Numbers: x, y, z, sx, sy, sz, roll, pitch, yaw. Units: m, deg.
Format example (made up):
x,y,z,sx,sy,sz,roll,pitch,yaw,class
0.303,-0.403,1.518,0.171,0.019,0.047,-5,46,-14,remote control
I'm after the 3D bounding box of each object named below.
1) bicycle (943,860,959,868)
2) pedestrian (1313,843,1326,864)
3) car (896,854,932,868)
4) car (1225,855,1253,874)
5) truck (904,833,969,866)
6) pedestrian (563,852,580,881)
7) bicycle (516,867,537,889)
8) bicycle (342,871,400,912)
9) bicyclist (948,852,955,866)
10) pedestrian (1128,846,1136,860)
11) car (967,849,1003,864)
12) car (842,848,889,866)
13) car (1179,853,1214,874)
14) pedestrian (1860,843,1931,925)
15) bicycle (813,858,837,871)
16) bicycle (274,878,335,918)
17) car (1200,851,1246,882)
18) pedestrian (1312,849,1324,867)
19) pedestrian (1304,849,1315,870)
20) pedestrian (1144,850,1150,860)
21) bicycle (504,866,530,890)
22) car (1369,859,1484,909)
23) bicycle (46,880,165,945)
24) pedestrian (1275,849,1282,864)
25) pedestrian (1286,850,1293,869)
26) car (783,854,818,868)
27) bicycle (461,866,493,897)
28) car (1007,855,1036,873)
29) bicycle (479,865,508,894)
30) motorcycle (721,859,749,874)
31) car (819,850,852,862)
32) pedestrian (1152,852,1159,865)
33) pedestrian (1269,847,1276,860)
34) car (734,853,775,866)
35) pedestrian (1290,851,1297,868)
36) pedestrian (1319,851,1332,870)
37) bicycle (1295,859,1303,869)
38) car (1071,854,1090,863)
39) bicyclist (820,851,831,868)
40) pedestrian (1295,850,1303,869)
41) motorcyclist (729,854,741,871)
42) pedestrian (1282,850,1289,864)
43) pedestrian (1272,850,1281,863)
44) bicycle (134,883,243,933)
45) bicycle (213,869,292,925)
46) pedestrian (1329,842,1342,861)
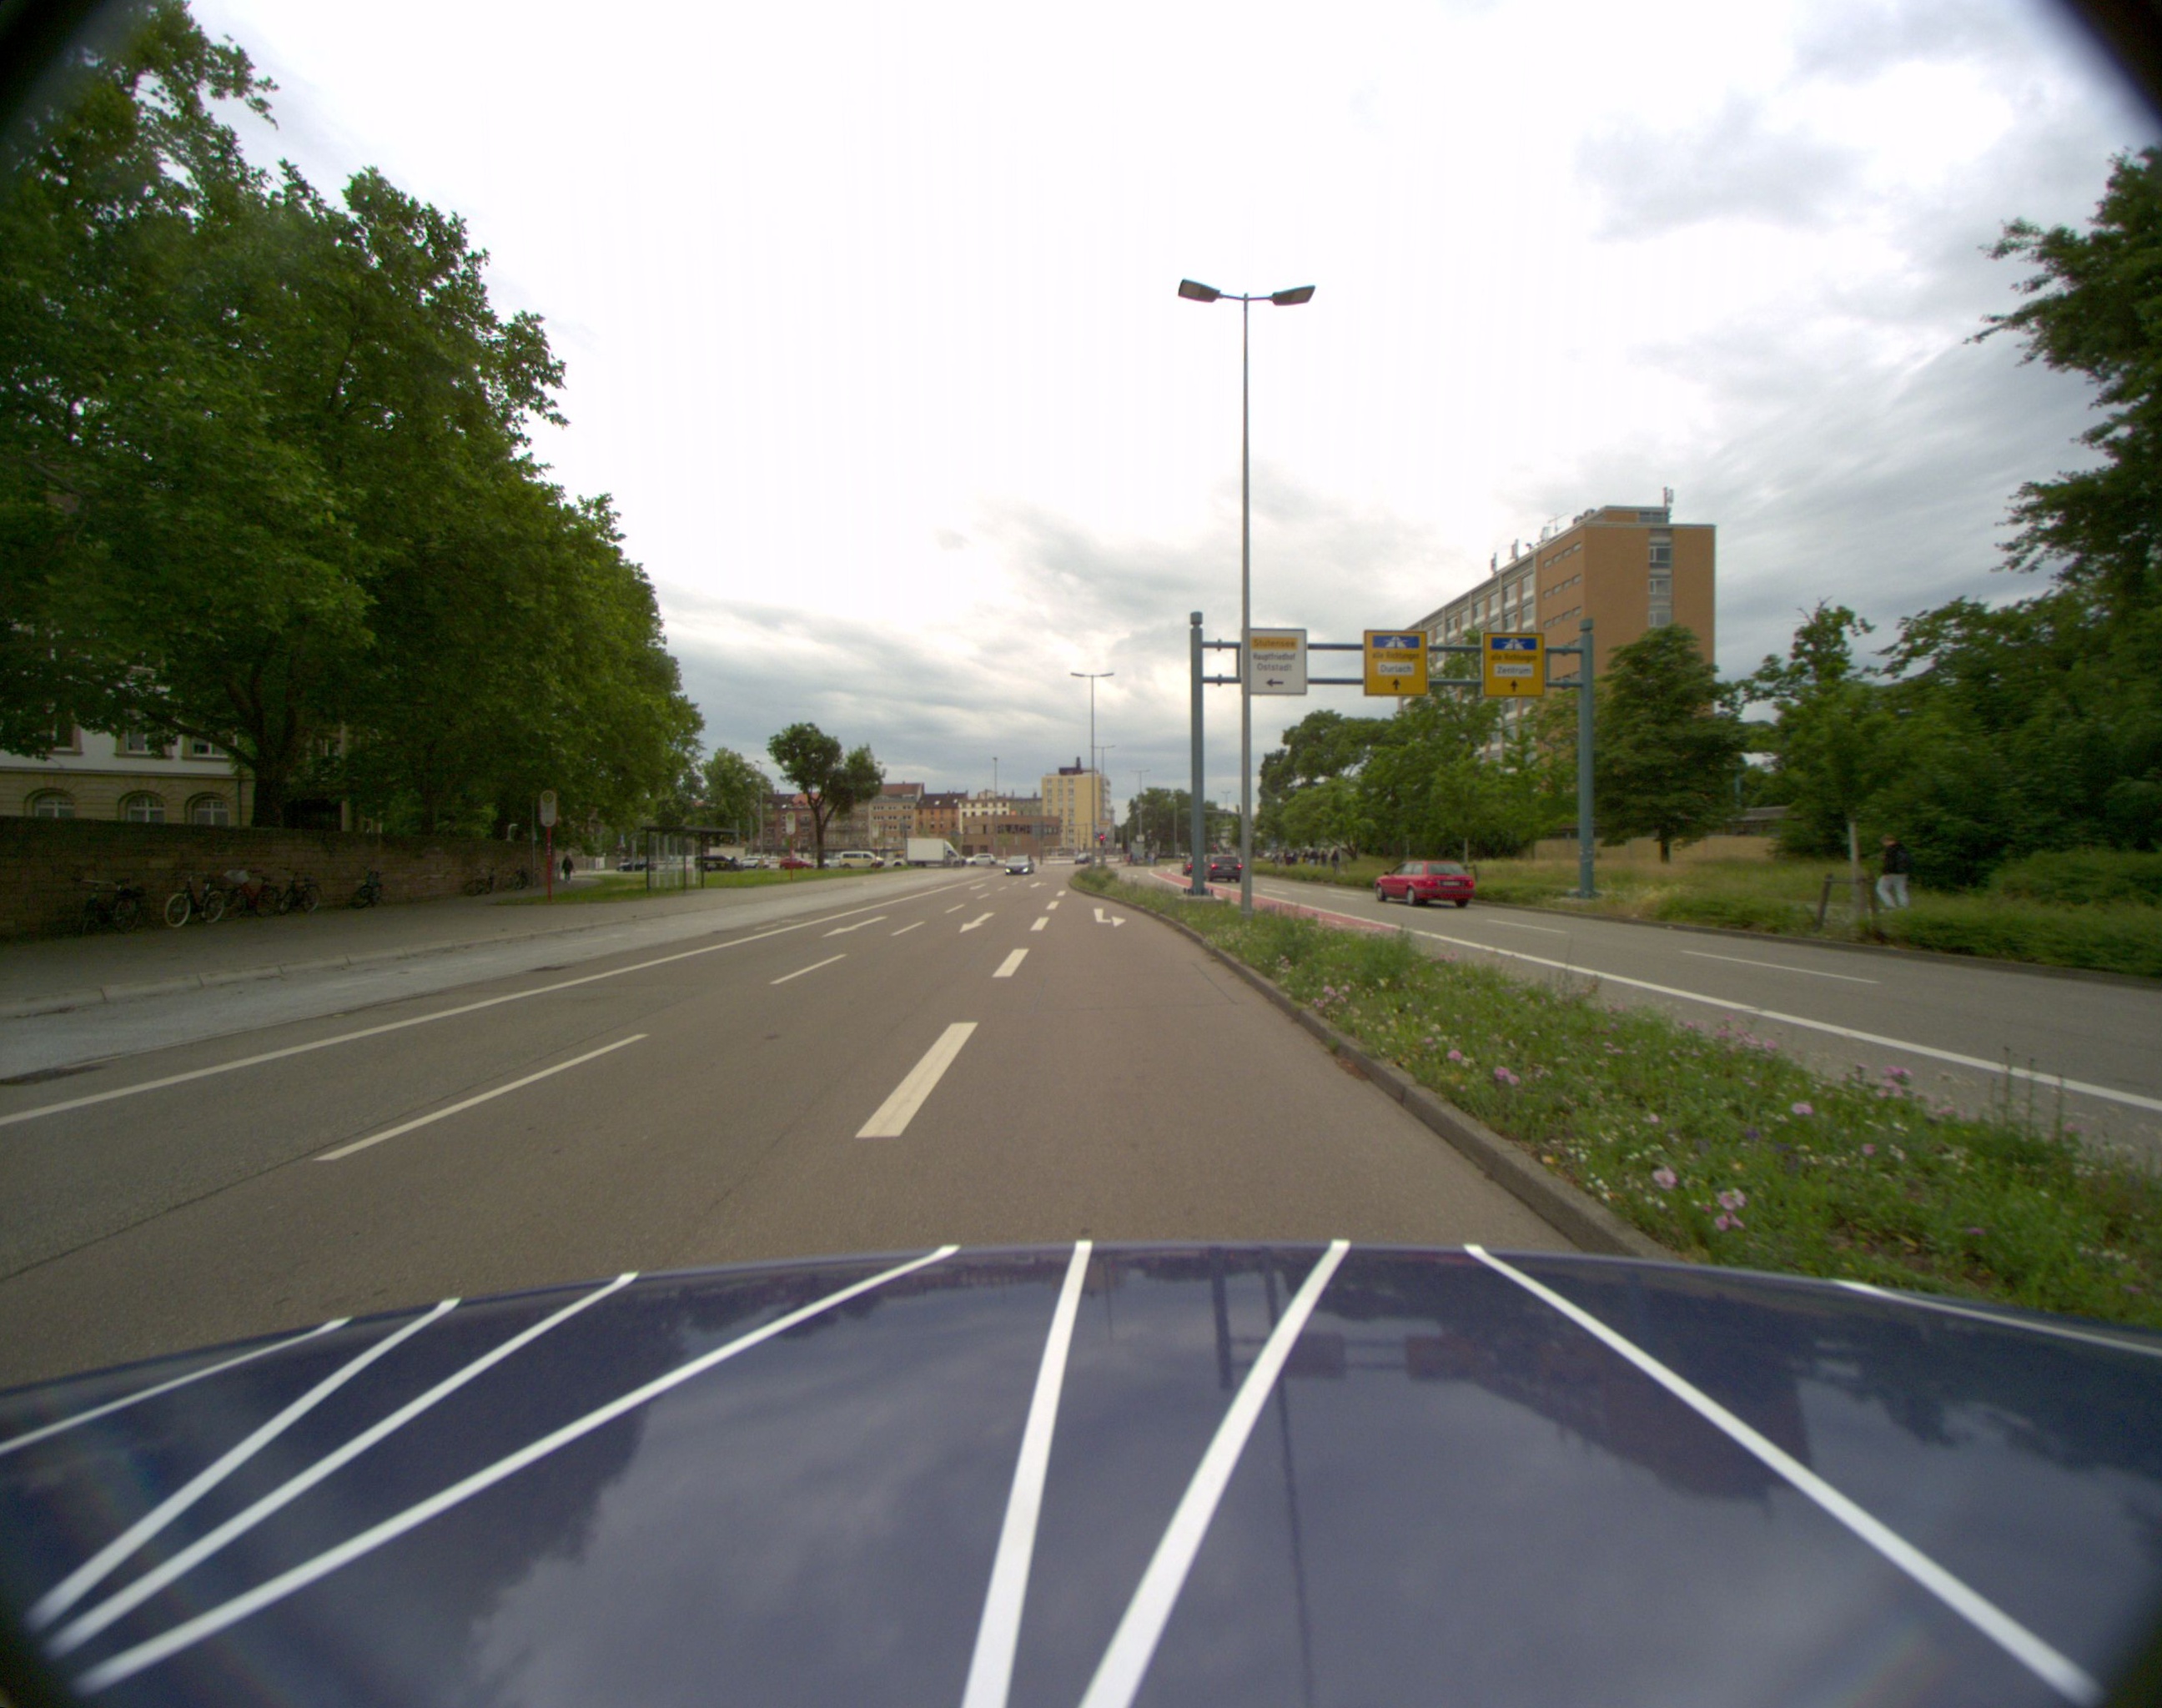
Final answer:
x,y,z,sx,sy,sz,roll,pitch,yaw,class
-14.258,1.108,83.173,1.695,0.910,0.767,1,0,-10,bicycle
18.981,-0.024,60.430,0.709,1.663,0.767,1,0,-5,pedestrian
-19.889,0.829,90.782,3.999,1.674,1.766,1,0,-6,car
12.015,0.746,57.986,1.611,1.373,3.809,1,0,4,car
-16.191,-0.542,85.438,6.852,3.393,2.559,-1,2,-5,truck
-30.676,0.765,45.712,0.759,1.725,0.820,0,1,-39,pedestrian
-26.361,1.109,36.139,0.552,0.986,1.633,1,0,-28,bicycle
-20.493,1.051,21.955,0.599,1.098,1.652,1,0,-19,bicycle
-14.193,0.560,83.179,0.740,1.499,0.767,1,0,-10,bicyclist
6.643,-0.143,99.670,0.917,1.794,0.541,1,1,17,pedestrian
-11.710,0.357,92.459,3.916,1.753,1.836,1,0,-23,car
-24.122,0.335,85.153,4.712,1.909,1.919,-1,3,-3,car
8.640,0.663,57.206,1.768,1.452,4.790,1,1,-2,car
17.679,0.632,16.514,0.621,1.719,0.818,1,0,0,pedestrian
-27.783,1.156,82.423,2.391,1.316,0.764,1,0,-6,bicycle
-20.087,1.122,19.676,0.417,0.937,1.523,1,0,-17,bicycle
8.477,0.705,45.704,1.925,1.655,4.398,1,1,1,car
21.522,0.322,68.932,0.635,1.603,0.829,-2,0,-21,pedestrian
18.163,0.428,60.362,0.587,1.650,0.720,1,0,-5,pedestrian
14.109,0.216,162.043,0.987,2.002,0.909,1,0,18,pedestrian
-25.649,1.075,34.569,0.596,1.053,1.709,1,0,-25,bicycle
10.864,0.893,24.250,1.718,1.410,4.294,0,0,1,car
-18.447,1.070,14.428,0.722,1.093,1.788,1,0,-28,bicycle
24.027,0.297,92.334,0.638,1.790,0.762,-1,0,4,pedestrian
18.406,0.494,67.136,0.575,1.599,0.617,1,0,16,pedestrian
-31.428,0.794,85.052,3.431,1.372,1.288,-1,-7,-5,car
-23.663,1.068,29.812,0.596,1.129,1.709,1,0,-25,bicycle
-4.416,0.712,56.690,1.785,1.255,3.830,-1,1,1,car
-24.285,1.054,31.432,0.596,1.123,1.709,1,0,-25,bicycle
-37.332,1.369,81.994,2.515,1.592,0.928,1,0,-12,motorcycle
-28.904,0.259,89.605,3.432,1.382,1.518,1,0,-9,car
9.818,0.611,100.109,0.777,1.657,0.706,1,0,-8,pedestrian
24.631,-0.026,97.688,0.708,1.661,0.890,-2,0,4,pedestrian
-38.404,0.657,89.438,4.033,1.466,1.819,1,0,-10,car
21.123,0.546,75.462,0.579,1.702,0.763,1,0,23,pedestrian
17.387,0.480,54.042,0.646,1.350,0.711,1,0,-1,pedestrian
19.127,0.879,66.794,0.661,0.882,1.717,1,0,16,bicycle
-0.124,0.632,115.036,1.782,1.255,3.535,-1,1,19,car
-27.707,0.600,82.430,0.896,1.849,0.764,1,0,-5,bicyclist
19.133,0.480,66.790,0.661,1.622,0.764,1,0,16,pedestrian
-37.313,0.945,81.977,0.918,1.818,0.928,1,0,-12,motorcyclist
22.199,0.289,82.513,0.637,1.471,0.762,1,0,4,pedestrian
21.267,0.267,82.691,0.730,1.471,0.813,1,0,4,pedestrian
-19.027,1.130,16.253,0.656,0.945,1.767,1,0,-17,bicycle
-19.576,0.986,17.991,0.501,1.214,1.624,1,0,-17,bicycle
18.123,-0.191,54.109,0.646,1.354,0.680,1,0,-2,pedestrian
